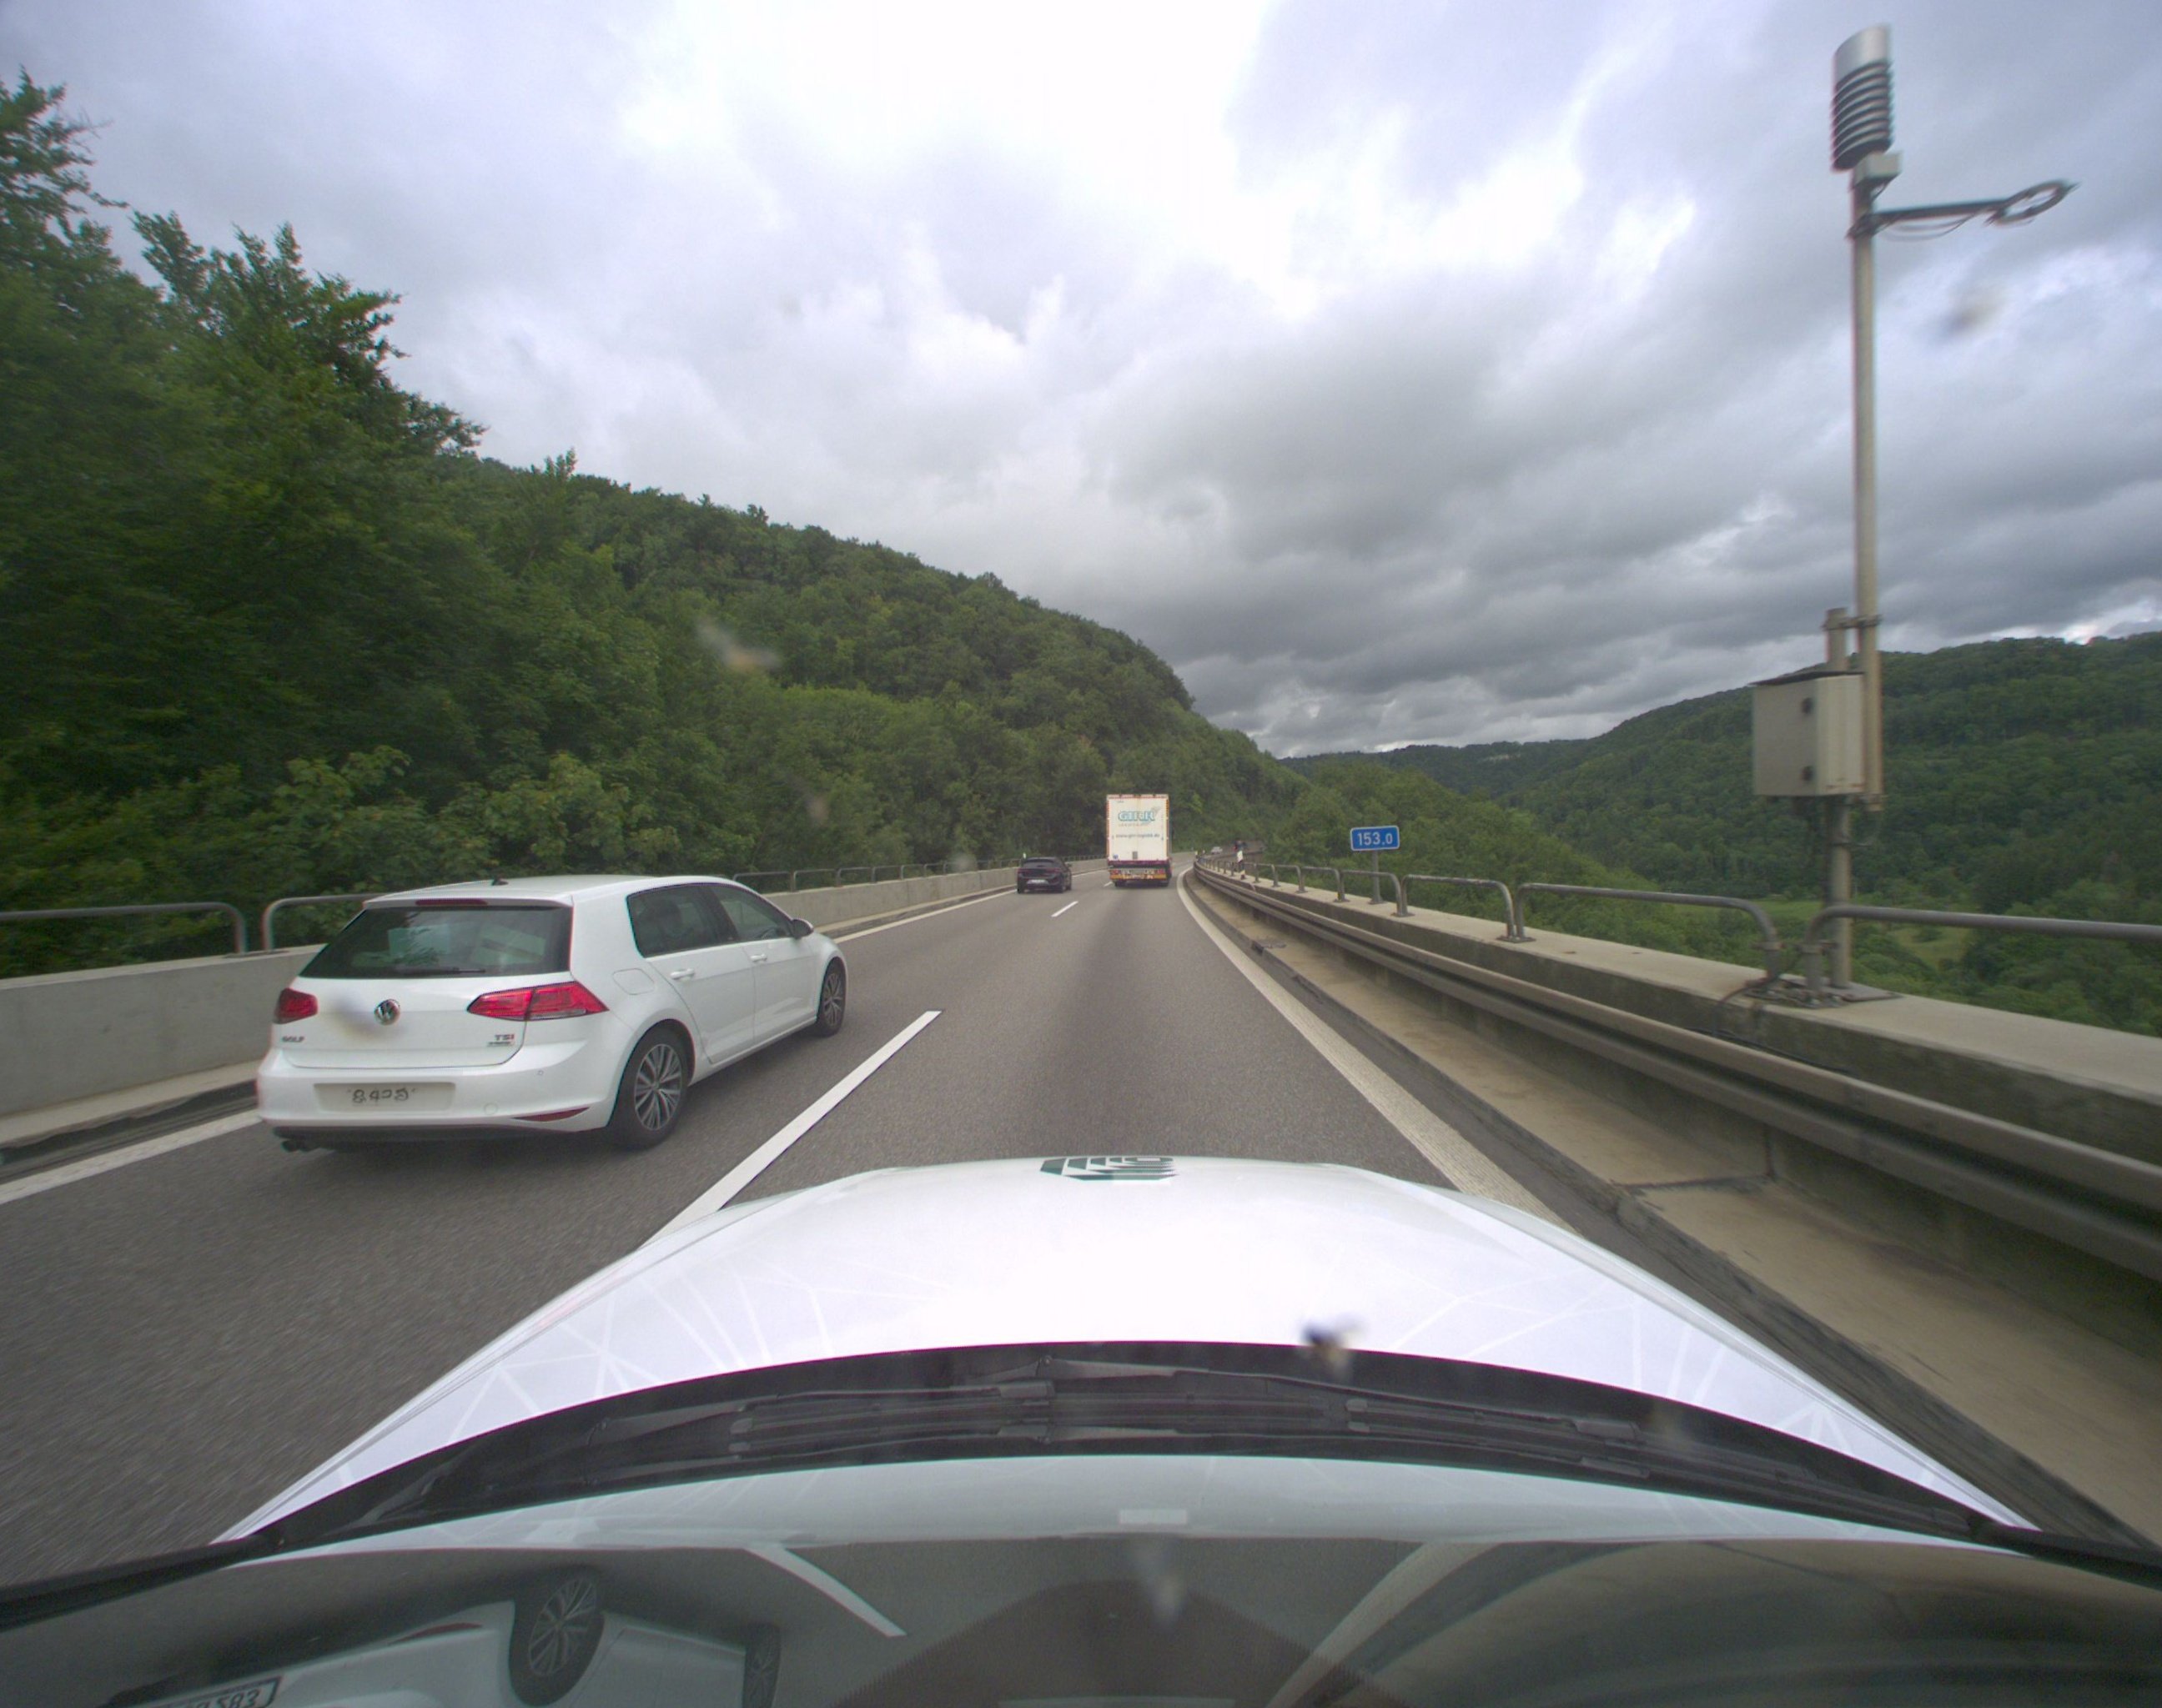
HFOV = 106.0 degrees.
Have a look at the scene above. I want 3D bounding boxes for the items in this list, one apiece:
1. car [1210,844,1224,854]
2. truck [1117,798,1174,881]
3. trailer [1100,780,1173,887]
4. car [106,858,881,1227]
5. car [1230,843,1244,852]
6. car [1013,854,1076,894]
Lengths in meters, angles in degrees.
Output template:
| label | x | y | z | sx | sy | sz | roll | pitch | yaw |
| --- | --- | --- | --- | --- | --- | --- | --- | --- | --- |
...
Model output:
| label | x | y | z | sx | sy | sz | roll | pitch | yaw |
| --- | --- | --- | --- | --- | --- | --- | --- | --- | --- |
| car | 25.087 | -0.896 | 150.360 | 1.977 | 1.565 | 4.019 | -2 | -1 | 18 |
| truck | 3.729 | -0.727 | 45.930 | 2.798 | 4.302 | 6.270 | -2 | -1 | 7 |
| trailer | 2.957 | -0.786 | 39.475 | 2.798 | 4.302 | 12.267 | -2 | -1 | 7 |
| car | -3.040 | 0.802 | 5.705 | 1.837 | 1.482 | 4.632 | -1 | 0 | 4 |
| car | 30.320 | -1.259 | 158.064 | 1.976 | 1.565 | 4.021 | -2 | -1 | 22 |
| car | -1.381 | 0.761 | 32.693 | 1.764 | 1.461 | 4.590 | -1 | 0 | 6 |
